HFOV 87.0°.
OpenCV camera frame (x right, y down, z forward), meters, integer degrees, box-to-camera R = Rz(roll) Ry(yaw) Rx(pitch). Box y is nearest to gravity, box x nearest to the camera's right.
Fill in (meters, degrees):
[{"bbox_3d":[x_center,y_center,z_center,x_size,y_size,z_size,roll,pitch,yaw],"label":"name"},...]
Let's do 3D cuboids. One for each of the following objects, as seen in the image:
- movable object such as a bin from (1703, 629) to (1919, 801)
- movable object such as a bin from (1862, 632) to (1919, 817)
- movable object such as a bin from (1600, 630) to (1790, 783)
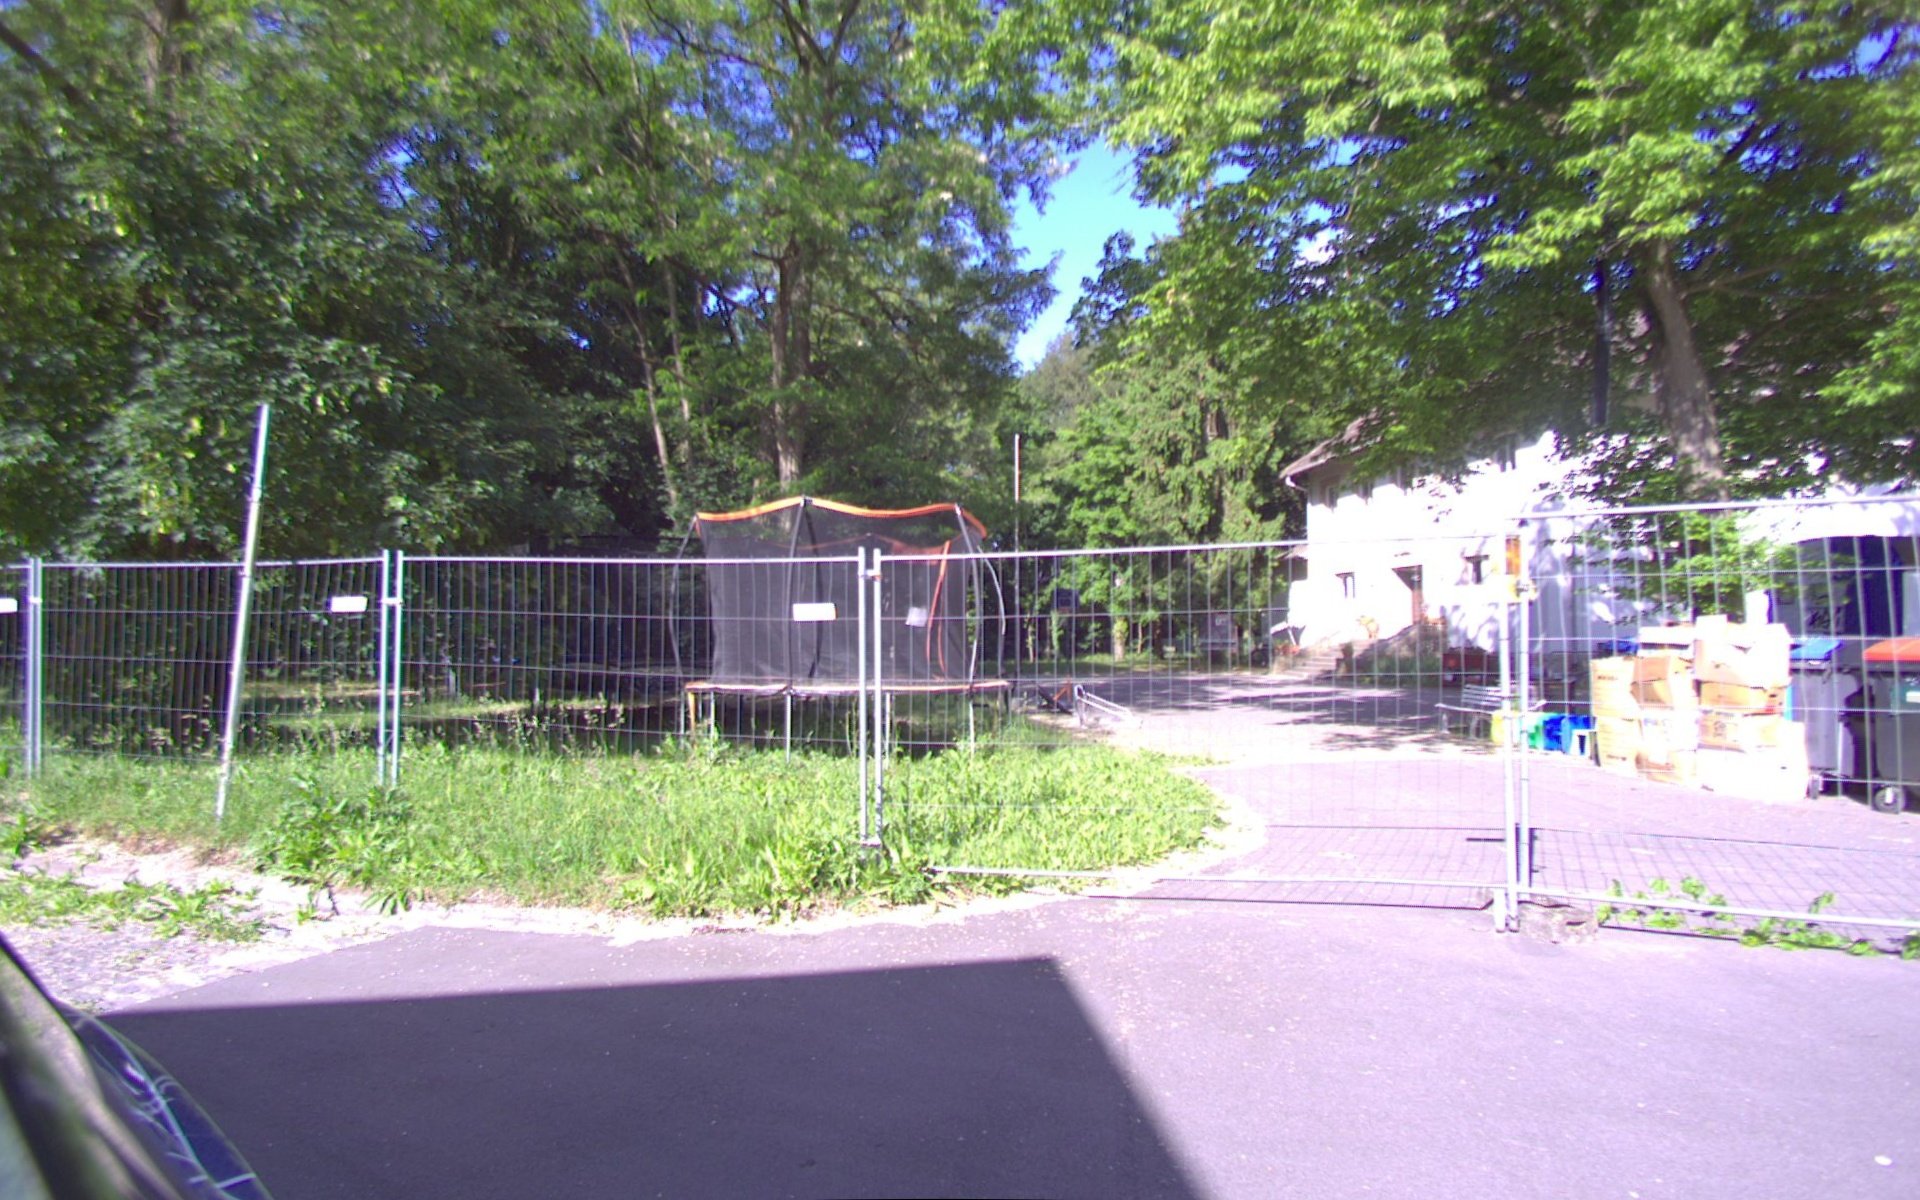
[{"bbox_3d":[7.821,0.998,9.227,1.016,1.437,1.294,0,-3,-9],"label":"movable object such as a bin"},{"bbox_3d":[8.011,0.958,7.711,1.016,1.437,1.294,0,-3,-9],"label":"movable object such as a bin"},{"bbox_3d":[7.365,1.040,10.208,1.040,1.449,1.088,0,-3,-5],"label":"movable object such as a bin"}]
